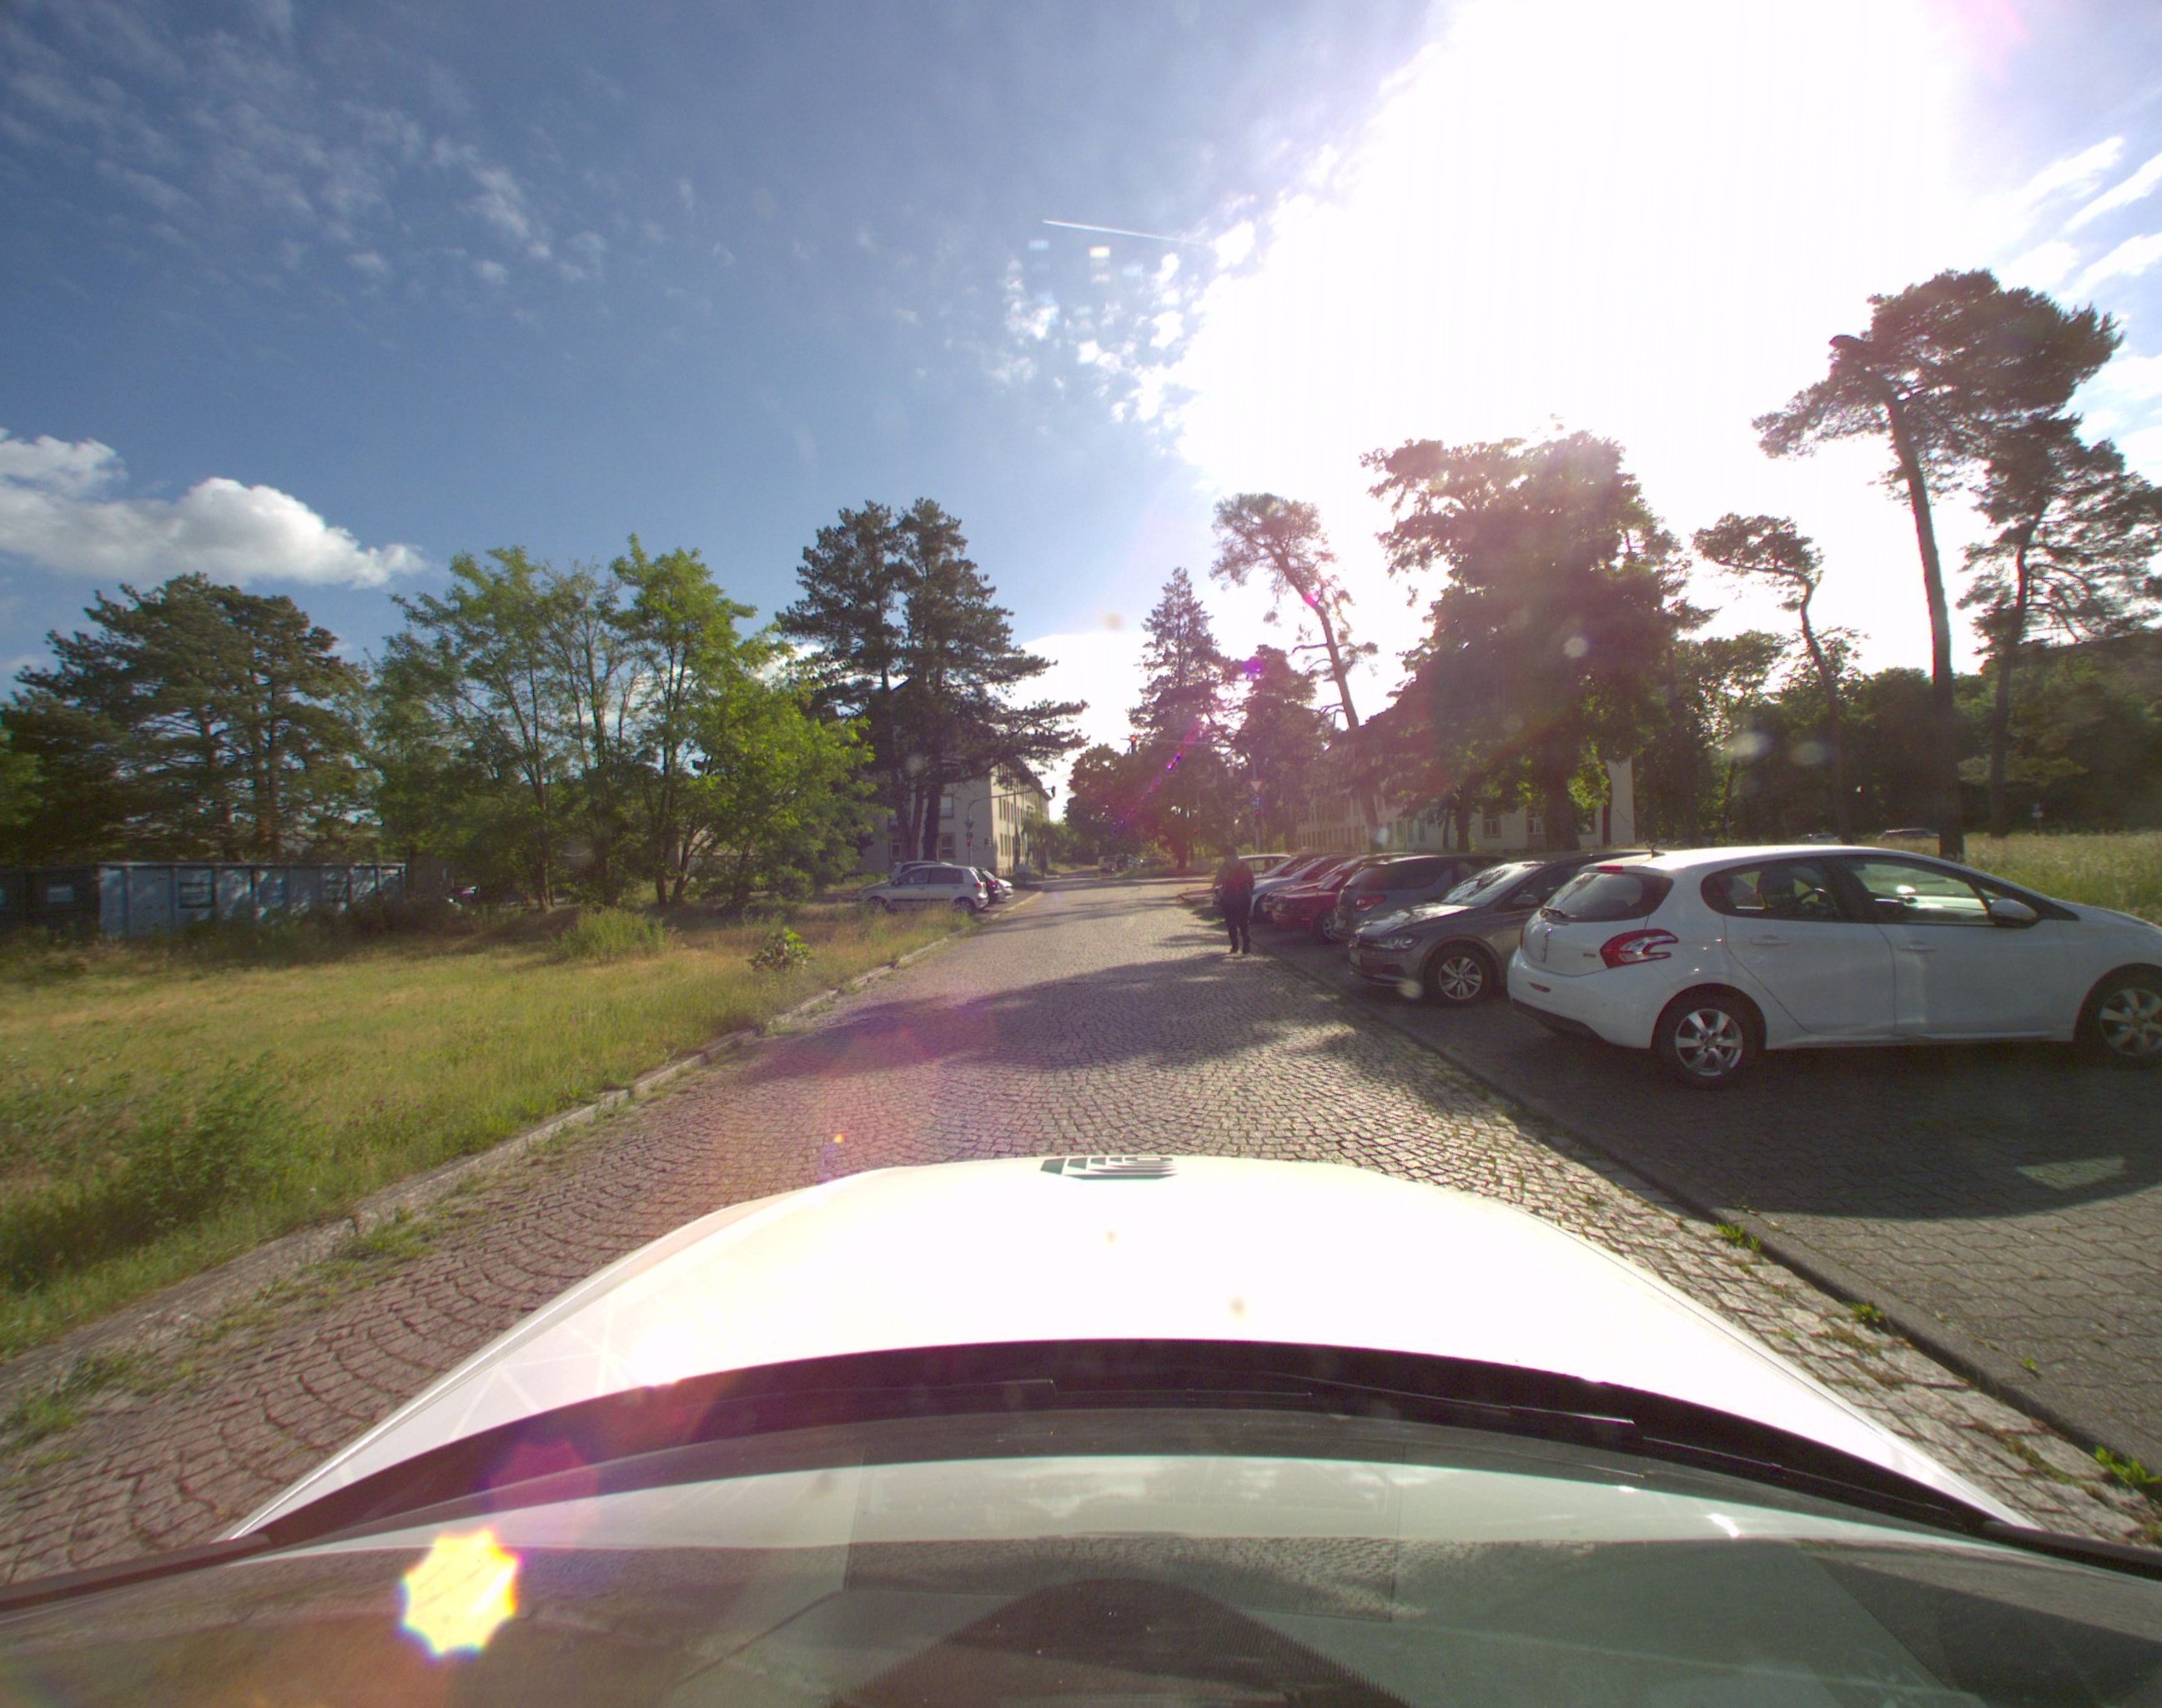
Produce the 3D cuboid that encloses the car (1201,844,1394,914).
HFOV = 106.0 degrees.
[{"bbox_3d":[5.698,0.646,21.866,4.605,1.455,1.869,-4,0,-1],"label":"car"}]

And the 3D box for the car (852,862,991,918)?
[{"bbox_3d":[-4.554,1.019,23.659,3.674,1.527,1.699,0,-1,-1],"label":"car"}]

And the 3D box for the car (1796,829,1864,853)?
[{"bbox_3d":[59.928,-1.029,65.196,3.619,1.671,1.769,-2,-1,4],"label":"car"}]

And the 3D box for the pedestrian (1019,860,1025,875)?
[{"bbox_3d":[-6.336,1.426,87.522,0.606,1.560,0.544,-2,-1,-5],"label":"pedestrian"}]

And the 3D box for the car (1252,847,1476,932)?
[{"bbox_3d":[5.658,0.693,16.635,3.965,1.448,1.656,-3,-1,1],"label":"car"}]

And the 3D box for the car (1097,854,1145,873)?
[{"bbox_3d":[4.480,1.020,91.162,5.063,1.918,1.995,-2,-1,-8],"label":"car"}]

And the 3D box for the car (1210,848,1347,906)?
[{"bbox_3d":[5.801,0.666,24.236,3.659,1.443,1.666,-4,-1,1],"label":"car"}]

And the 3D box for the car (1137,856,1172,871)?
[{"bbox_3d":[8.543,1.075,94.971,3.738,1.580,1.738,-2,-1,-6],"label":"car"}]

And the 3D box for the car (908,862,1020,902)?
[{"bbox_3d":[-4.536,1.076,31.862,3.966,1.496,1.776,0,0,6],"label":"car"}]

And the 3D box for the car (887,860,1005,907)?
[{"bbox_3d":[-4.736,1.029,28.972,3.866,1.615,1.661,0,0,0],"label":"car"}]

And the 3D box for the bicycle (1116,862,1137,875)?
[{"bbox_3d":[4.127,1.275,73.259,1.829,1.112,0.495,-2,-1,-2],"label":"bicycle"}]

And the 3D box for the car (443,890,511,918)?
[{"bbox_3d":[-45.279,3.701,61.123,1.856,1.778,4.007,-2,-1,5],"label":"car"}]

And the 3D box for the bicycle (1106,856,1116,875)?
[{"bbox_3d":[2.575,0.975,69.841,0.750,1.580,2.537,-2,0,1],"label":"bicycle"}]

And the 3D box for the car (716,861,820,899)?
[{"bbox_3d":[-15.020,1.233,39.247,4.127,1.608,2.011,-2,0,2],"label":"car"}]

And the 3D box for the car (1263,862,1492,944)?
[{"bbox_3d":[5.075,0.820,14.257,3.447,1.242,1.537,-2,-1,2],"label":"car"}]

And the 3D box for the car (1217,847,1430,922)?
[{"bbox_3d":[5.531,0.681,18.973,4.384,1.388,1.789,-3,-1,0],"label":"car"}]

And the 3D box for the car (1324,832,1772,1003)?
[{"bbox_3d":[4.777,0.627,8.797,3.765,1.450,1.759,-3,-1,3],"label":"car"}]

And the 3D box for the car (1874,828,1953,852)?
[{"bbox_3d":[58.910,-0.981,57.687,3.619,1.498,1.769,-2,-1,4],"label":"car"}]

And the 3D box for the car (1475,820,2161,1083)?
[{"bbox_3d":[5.065,0.612,5.855,3.630,1.492,1.635,-2,-1,2],"label":"car"}]

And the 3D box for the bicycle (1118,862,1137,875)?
[{"bbox_3d":[4.215,1.277,73.802,1.722,1.112,0.484,-2,-1,-2],"label":"bicycle"}]

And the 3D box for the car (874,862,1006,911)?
[{"bbox_3d":[-4.494,1.029,26.323,3.924,1.445,1.691,1,0,0],"label":"car"}]

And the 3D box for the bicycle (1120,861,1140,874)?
[{"bbox_3d":[4.474,1.238,74.477,1.722,1.164,0.560,-2,-1,-2],"label":"bicycle"}]

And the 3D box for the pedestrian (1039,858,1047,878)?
[{"bbox_3d":[-3.297,1.205,70.480,0.604,1.752,0.630,-2,-1,1],"label":"pedestrian"}]

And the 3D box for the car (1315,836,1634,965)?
[{"bbox_3d":[5.413,0.620,11.547,3.649,1.455,1.667,-4,-1,1],"label":"car"}]

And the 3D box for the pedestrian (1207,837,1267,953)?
[{"bbox_3d":[2.441,0.627,12.825,0.750,1.725,0.829,3,-1,1],"label":"pedestrian"}]

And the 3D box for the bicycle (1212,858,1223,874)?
[{"bbox_3d":[10.267,0.866,61.193,0.717,1.115,2.592,-2,-1,12],"label":"bicycle"}]
